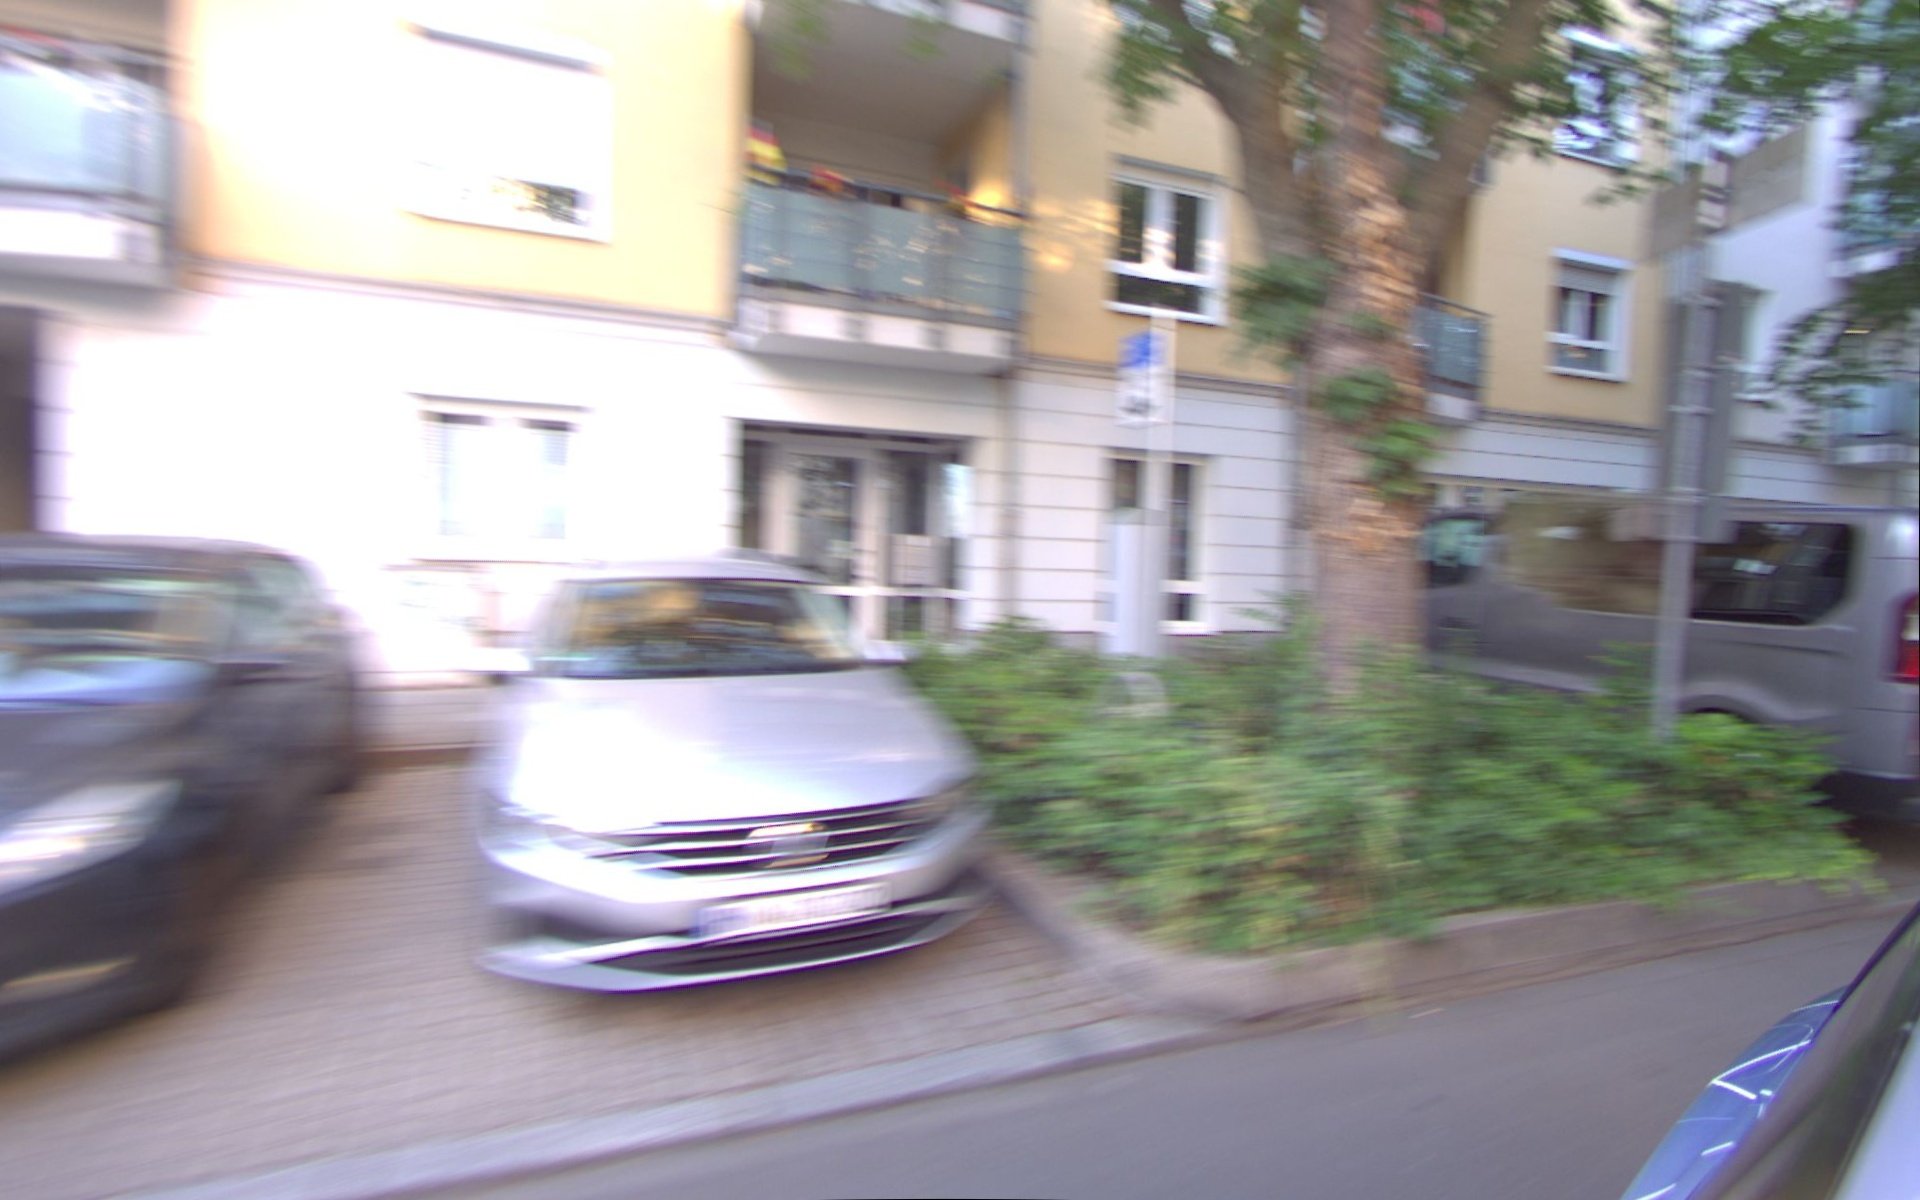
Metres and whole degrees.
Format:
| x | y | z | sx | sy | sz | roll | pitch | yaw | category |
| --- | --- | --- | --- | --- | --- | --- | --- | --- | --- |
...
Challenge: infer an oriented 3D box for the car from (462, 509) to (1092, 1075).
| x | y | z | sx | sy | sz | roll | pitch | yaw | category |
| --- | --- | --- | --- | --- | --- | --- | --- | --- | --- |
| -1.386 | 0.381 | 5.211 | 1.920 | 1.520 | 4.648 | 0 | 3 | -24 | car |

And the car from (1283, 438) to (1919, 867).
| x | y | z | sx | sy | sz | roll | pitch | yaw | category |
| --- | --- | --- | --- | --- | --- | --- | --- | --- | --- |
| 4.821 | 0.151 | 7.317 | 2.151 | 2.091 | 4.626 | 1 | 3 | -24 | car |

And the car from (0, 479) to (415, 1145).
| x | y | z | sx | sy | sz | roll | pitch | yaw | category |
| --- | --- | --- | --- | --- | --- | --- | --- | --- | --- |
| -3.766 | 0.393 | 4.298 | 1.949 | 1.539 | 4.810 | 1 | 2 | -21 | car |

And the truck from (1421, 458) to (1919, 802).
| x | y | z | sx | sy | sz | roll | pitch | yaw | category |
| --- | --- | --- | --- | --- | --- | --- | --- | --- | --- |
| 7.074 | 0.152 | 8.501 | 2.166 | 2.339 | 5.921 | 1 | 2 | -22 | truck |
